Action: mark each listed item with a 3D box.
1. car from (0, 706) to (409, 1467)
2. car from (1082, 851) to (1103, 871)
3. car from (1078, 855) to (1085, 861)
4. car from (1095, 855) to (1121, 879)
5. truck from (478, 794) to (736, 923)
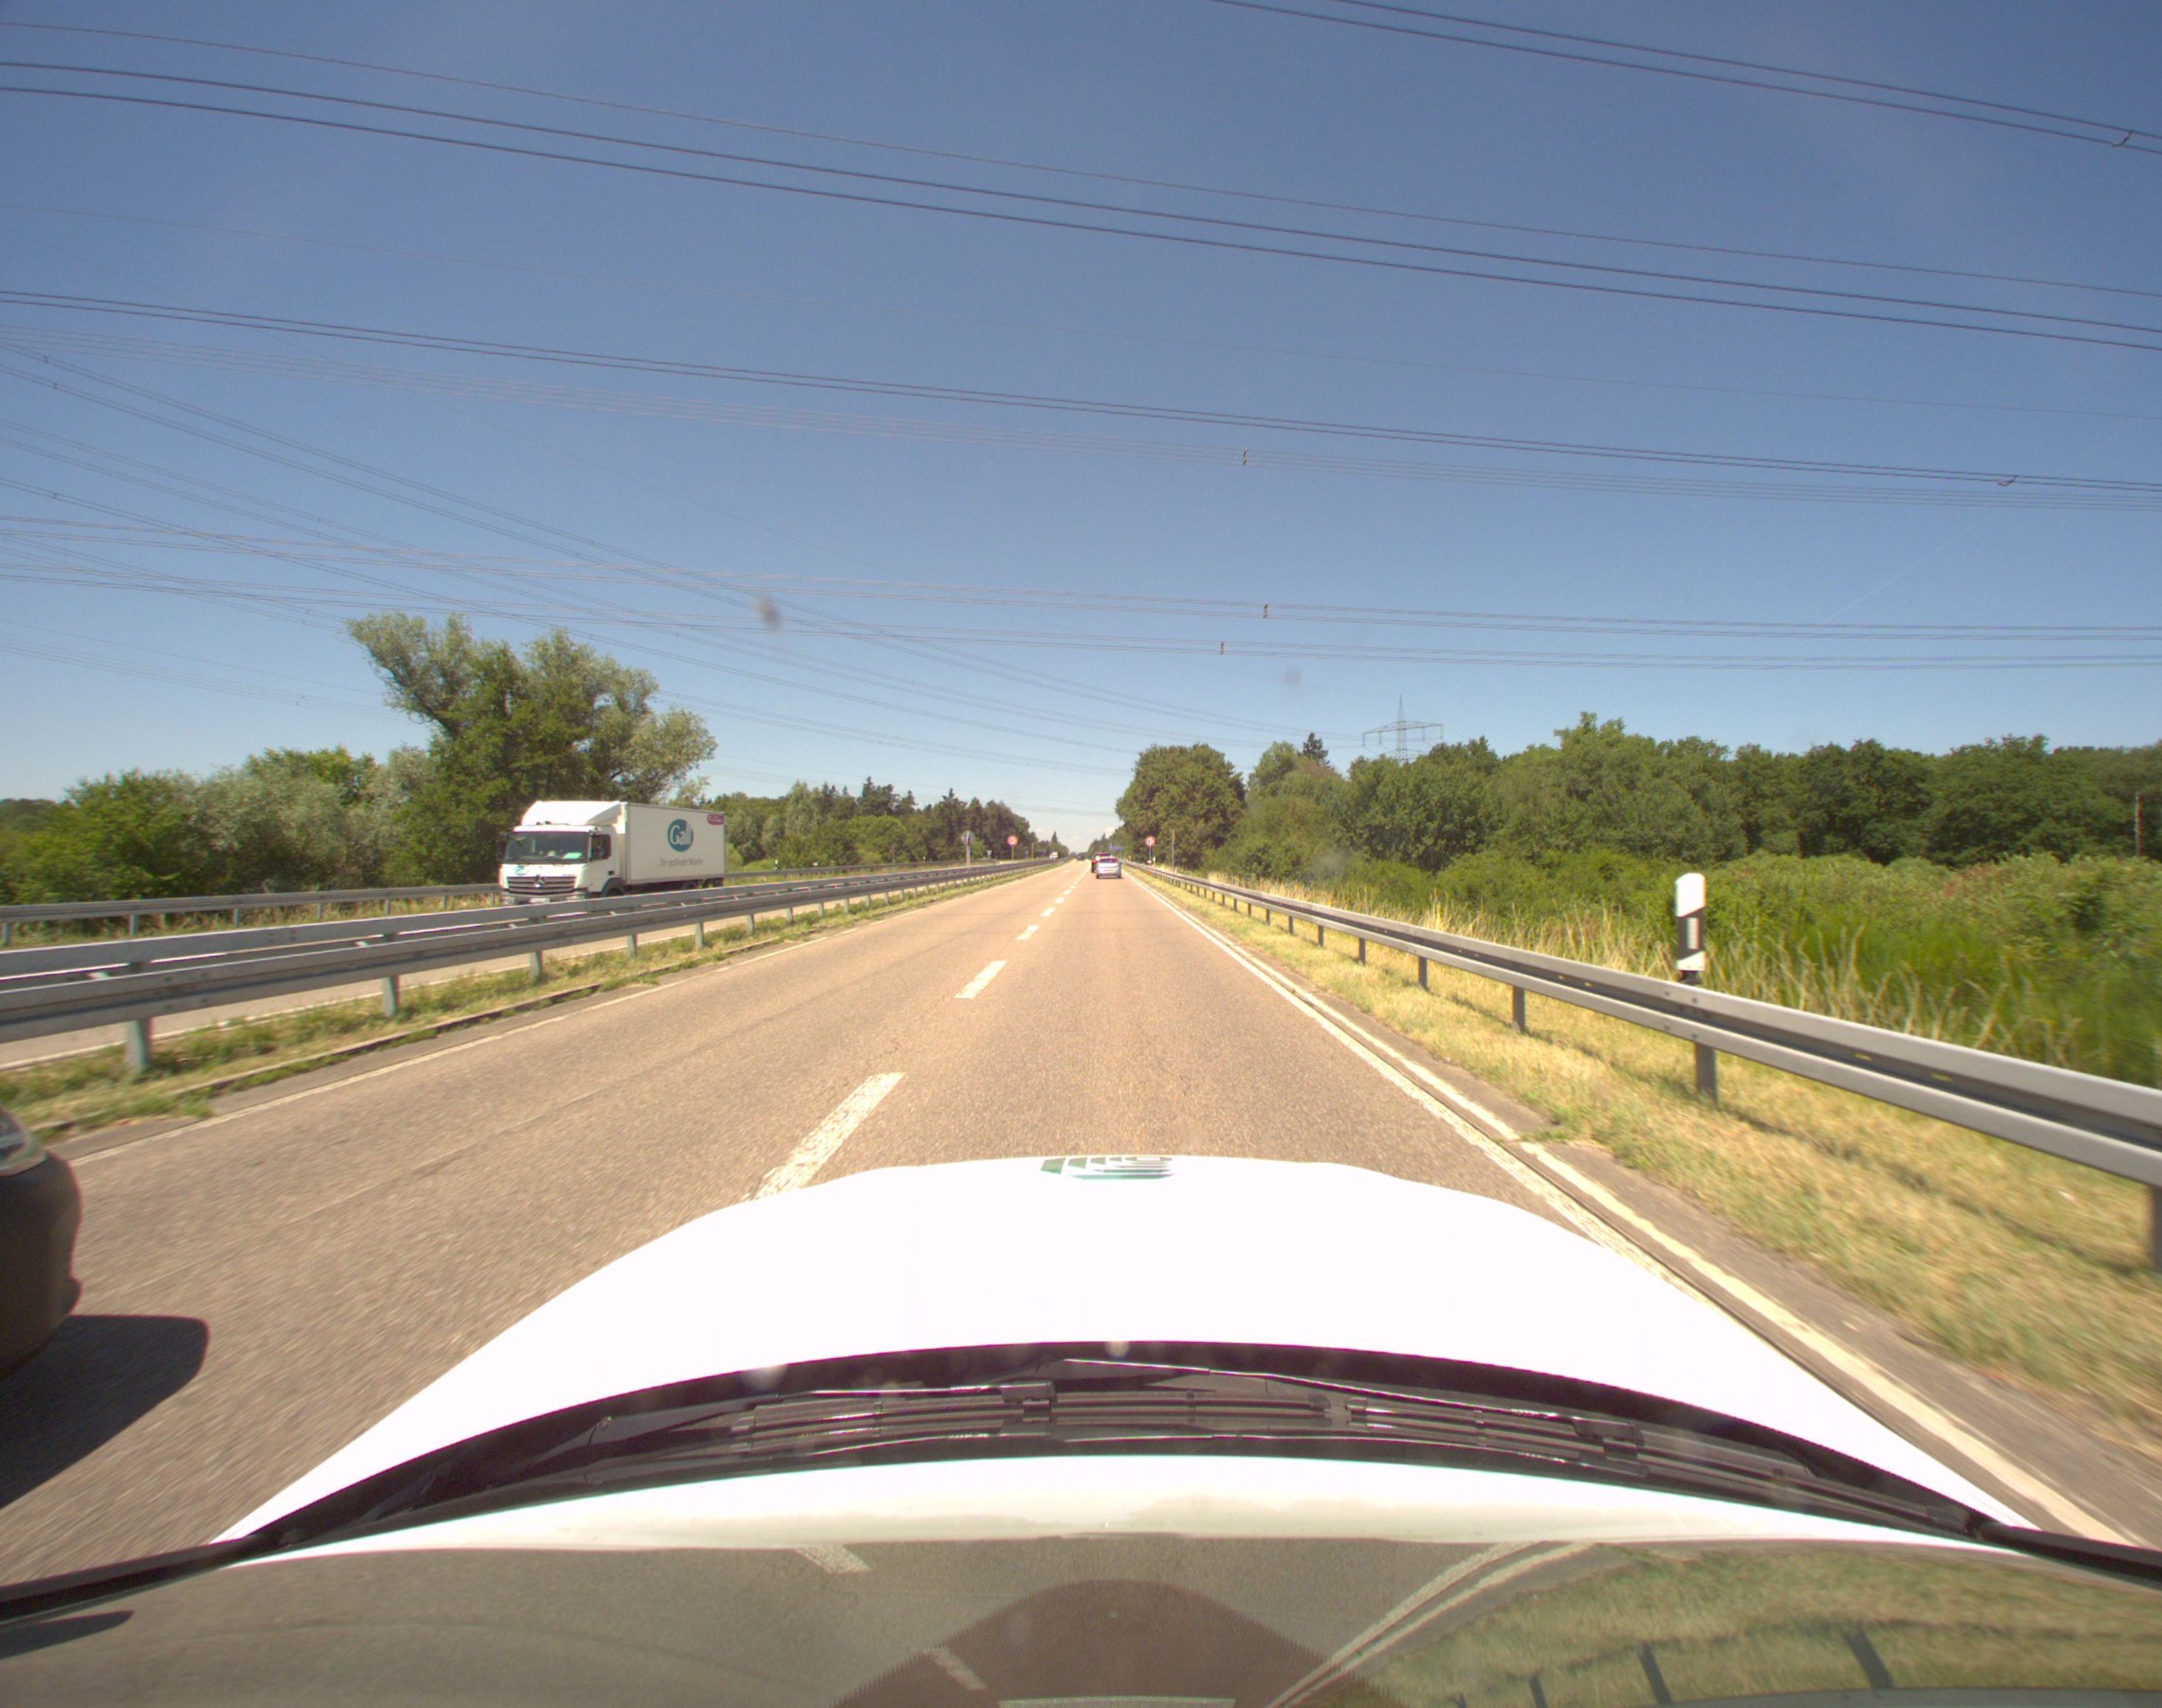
[{"bbox_3d":[-3.637,0.584,0.437,1.848,1.887,5.574,-1,0,1],"label":"car"},{"bbox_3d":[0.984,0.628,71.274,1.635,1.654,3.573,2,0,-1],"label":"car"},{"bbox_3d":[0.107,1.025,203.562,1.706,1.471,3.574,2,0,0],"label":"car"},{"bbox_3d":[1.795,0.859,54.271,1.635,1.468,3.419,2,0,1],"label":"car"},{"bbox_3d":[-13.741,0.115,24.749,2.708,3.193,8.408,-1,0,2],"label":"truck"}]
